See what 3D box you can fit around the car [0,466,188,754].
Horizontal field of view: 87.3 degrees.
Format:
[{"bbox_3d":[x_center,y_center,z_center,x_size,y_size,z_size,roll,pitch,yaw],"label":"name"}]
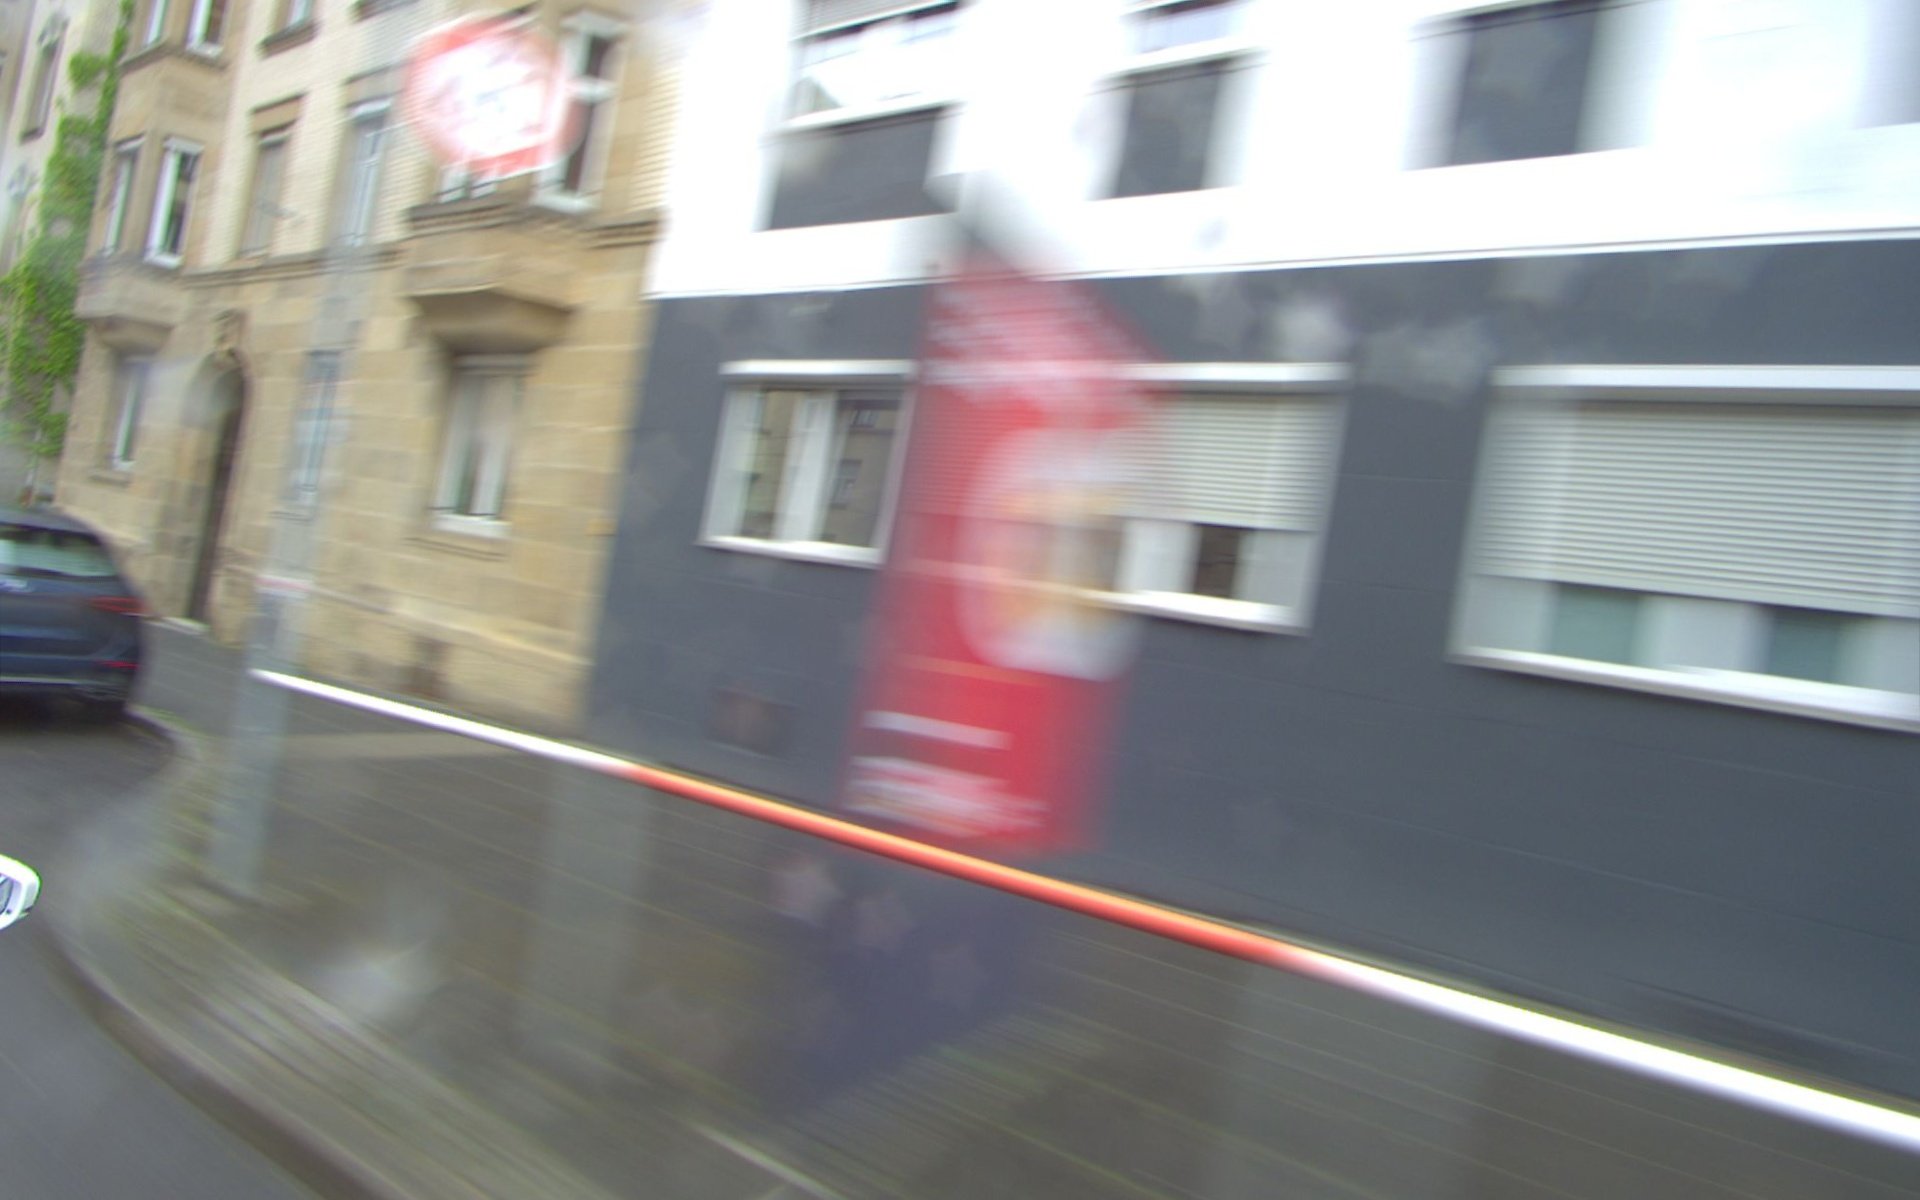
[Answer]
[{"bbox_3d":[-8.013,-0.121,7.726,4.410,1.826,1.773,6,-4,34],"label":"car"}]
